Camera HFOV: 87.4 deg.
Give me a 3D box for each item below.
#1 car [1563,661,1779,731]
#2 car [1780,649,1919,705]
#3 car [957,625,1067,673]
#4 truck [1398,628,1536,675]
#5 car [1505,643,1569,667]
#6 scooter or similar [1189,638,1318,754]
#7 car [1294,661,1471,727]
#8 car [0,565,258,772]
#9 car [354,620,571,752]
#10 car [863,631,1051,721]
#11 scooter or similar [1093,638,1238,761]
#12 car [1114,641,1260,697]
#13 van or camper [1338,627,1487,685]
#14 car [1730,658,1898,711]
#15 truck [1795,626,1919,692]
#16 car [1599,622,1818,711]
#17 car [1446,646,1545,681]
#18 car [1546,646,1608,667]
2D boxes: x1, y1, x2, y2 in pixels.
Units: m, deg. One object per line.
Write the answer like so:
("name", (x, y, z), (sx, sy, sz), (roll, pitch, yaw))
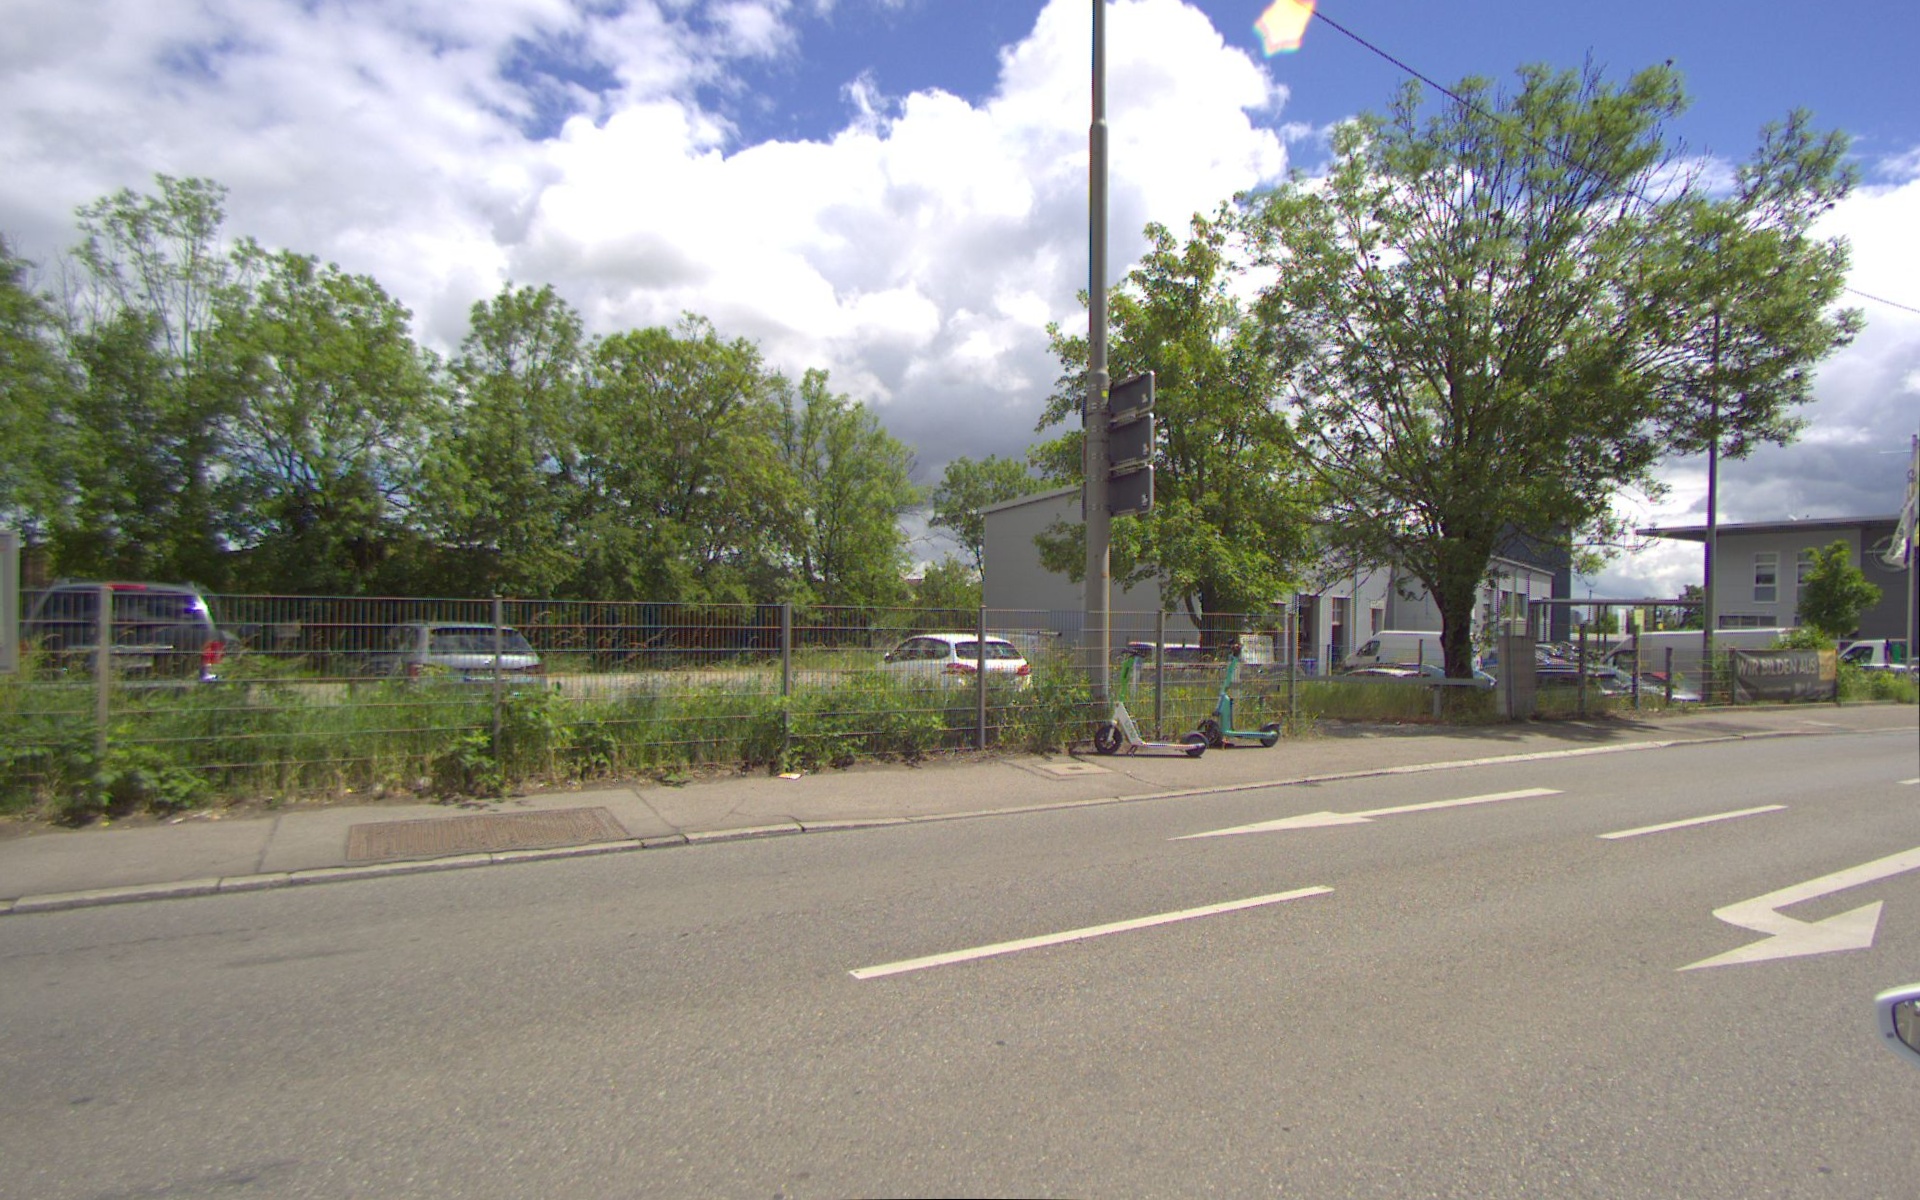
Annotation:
("car", (17.691, 2.356, 25.176), (1.907, 1.404, 4.011), (4, -2, -32))
("car", (30.242, 2.560, 33.652), (1.906, 1.630, 3.866), (4, -2, -30))
("car", (2.045, 1.934, 40.207), (4.112, 1.751, 1.833), (0, -2, 41))
("truck", (27.299, 2.756, 54.253), (6.217, 2.258, 2.690), (0, -3, 40))
("car", (38.374, 3.631, 66.876), (3.428, 1.416, 1.654), (0, -1, 42))
("scooter or similar", (3.478, 1.114, 11.891), (1.452, 1.283, 0.533), (2, 1, -26))
("car", (10.982, 2.421, 26.390), (1.803, 1.404, 4.015), (4, -2, -29))
("car", (-9.972, 0.731, 12.257), (2.121, 2.040, 4.245), (3, -2, -37))
("car", (-7.085, 1.082, 14.082), (1.894, 1.506, 4.244), (3, -2, -38))
("car", (-0.202, 1.329, 18.627), (1.841, 1.399, 4.263), (2, -2, -25))
("scooter or similar", (2.252, 1.083, 11.050), (1.446, 1.279, 0.535), (2, 1, -13))
("car", (7.769, 2.314, 34.239), (4.856, 1.751, 1.829), (2, -2, -29))
("van or camper", (20.767, 2.519, 46.265), (5.815, 2.386, 2.490), (0, -1, 42))
("car", (26.058, 2.564, 30.766), (1.689, 1.342, 3.533), (4, -2, -27))
("truck", (32.748, 2.071, 34.513), (2.451, 2.175, 5.827), (4, -3, -33))
("car", (19.545, 1.648, 26.409), (2.175, 2.040, 4.137), (1, -1, -32))
("car", (27.122, 3.193, 50.932), (4.174, 1.516, 1.922), (2, -2, 37))
("car", (42.645, 3.899, 69.462), (3.428, 1.301, 1.654), (0, -1, 42))
